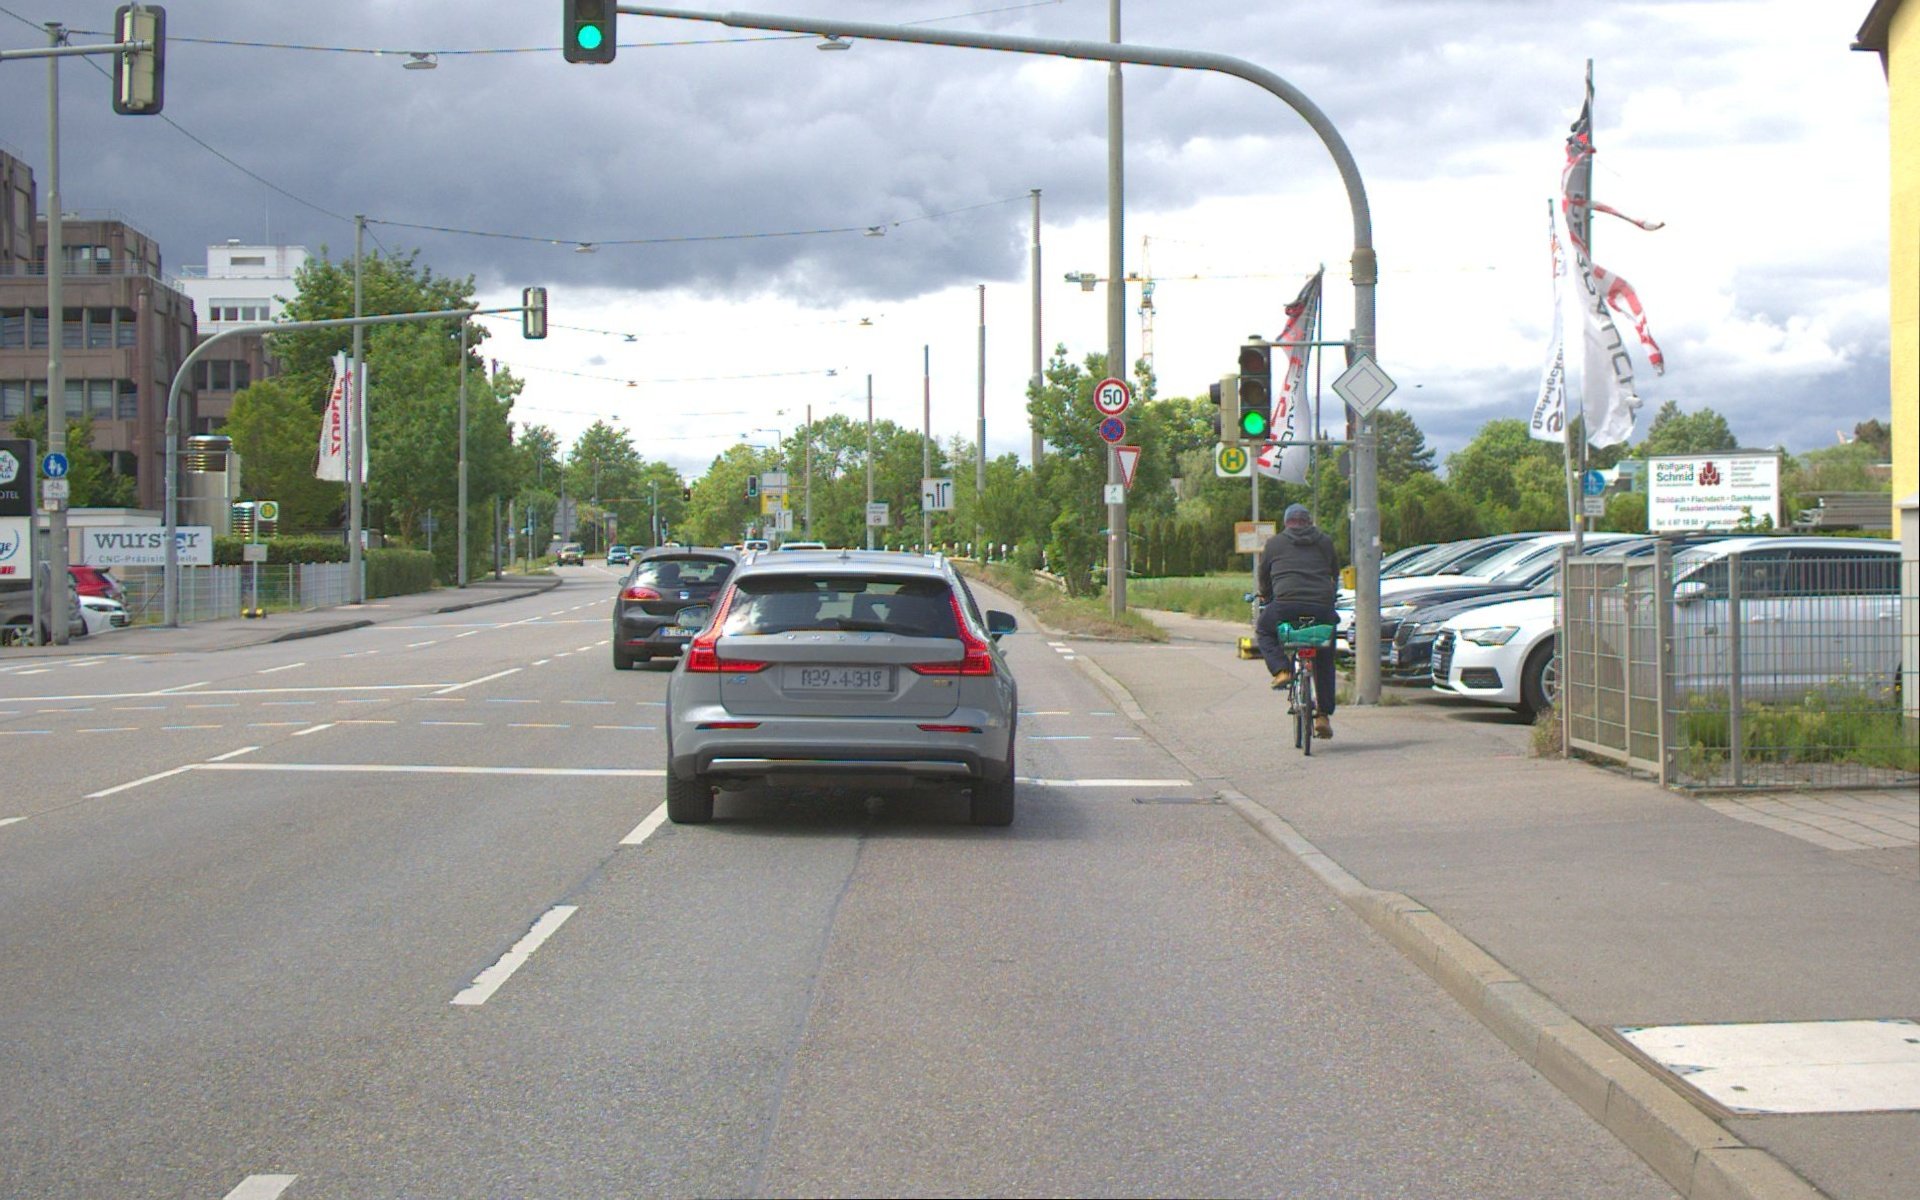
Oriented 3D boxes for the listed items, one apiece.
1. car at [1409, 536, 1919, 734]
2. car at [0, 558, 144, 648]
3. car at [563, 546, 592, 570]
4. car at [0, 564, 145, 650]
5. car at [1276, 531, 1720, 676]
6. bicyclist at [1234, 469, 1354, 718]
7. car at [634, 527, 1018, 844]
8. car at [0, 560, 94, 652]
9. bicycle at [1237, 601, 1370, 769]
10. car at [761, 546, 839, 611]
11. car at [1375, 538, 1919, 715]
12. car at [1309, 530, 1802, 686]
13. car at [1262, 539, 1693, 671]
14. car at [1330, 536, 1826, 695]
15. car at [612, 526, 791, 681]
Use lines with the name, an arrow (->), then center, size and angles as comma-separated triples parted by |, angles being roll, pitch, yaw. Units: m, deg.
car -> 6.105, 0.256, 27.532 | 4.696, 1.488, 2.046 | 0, 1, -1
car -> -17.372, 0.150, 63.342 | 4.223, 1.382, 1.984 | -6, 0, -6
car -> -28.625, -3.165, 257.609 | 1.881, 1.711, 4.000 | 2, 0, -3
car -> -17.881, 0.203, 65.922 | 3.987, 1.365, 1.848 | -6, 0, -3
car -> 6.014, 0.026, 38.843 | 4.676, 1.488, 2.015 | 1, 1, 0
bicyclist -> 2.335, -0.052, 24.085 | 0.638, 1.670, 0.890 | -4, 1, -1
car -> -0.663, 0.429, 19.356 | 1.895, 1.549, 4.000 | 2, 0, 0
car -> -16.954, 0.235, 58.328 | 4.092, 1.393, 1.909 | -6, 2, -8
bicycle -> 2.382, 0.570, 24.029 | 0.638, 1.059, 1.977 | -4, 1, -1
car -> -4.330, -0.574, 93.477 | 1.993, 1.689, 4.000 | 2, 0, -2
car -> 6.138, 0.212, 30.409 | 4.659, 1.488, 2.035 | 0, 1, -1
car -> 6.181, 0.066, 36.123 | 4.800, 1.475, 2.032 | 1, 1, 1
car -> 6.190, 0.040, 41.521 | 4.852, 1.425, 2.038 | 2, 1, 0
car -> 5.919, 0.129, 33.309 | 4.368, 1.399, 1.989 | 1, 1, -2
car -> -3.056, 0.036, 41.193 | 1.993, 1.711, 4.000 | 2, 0, -3
